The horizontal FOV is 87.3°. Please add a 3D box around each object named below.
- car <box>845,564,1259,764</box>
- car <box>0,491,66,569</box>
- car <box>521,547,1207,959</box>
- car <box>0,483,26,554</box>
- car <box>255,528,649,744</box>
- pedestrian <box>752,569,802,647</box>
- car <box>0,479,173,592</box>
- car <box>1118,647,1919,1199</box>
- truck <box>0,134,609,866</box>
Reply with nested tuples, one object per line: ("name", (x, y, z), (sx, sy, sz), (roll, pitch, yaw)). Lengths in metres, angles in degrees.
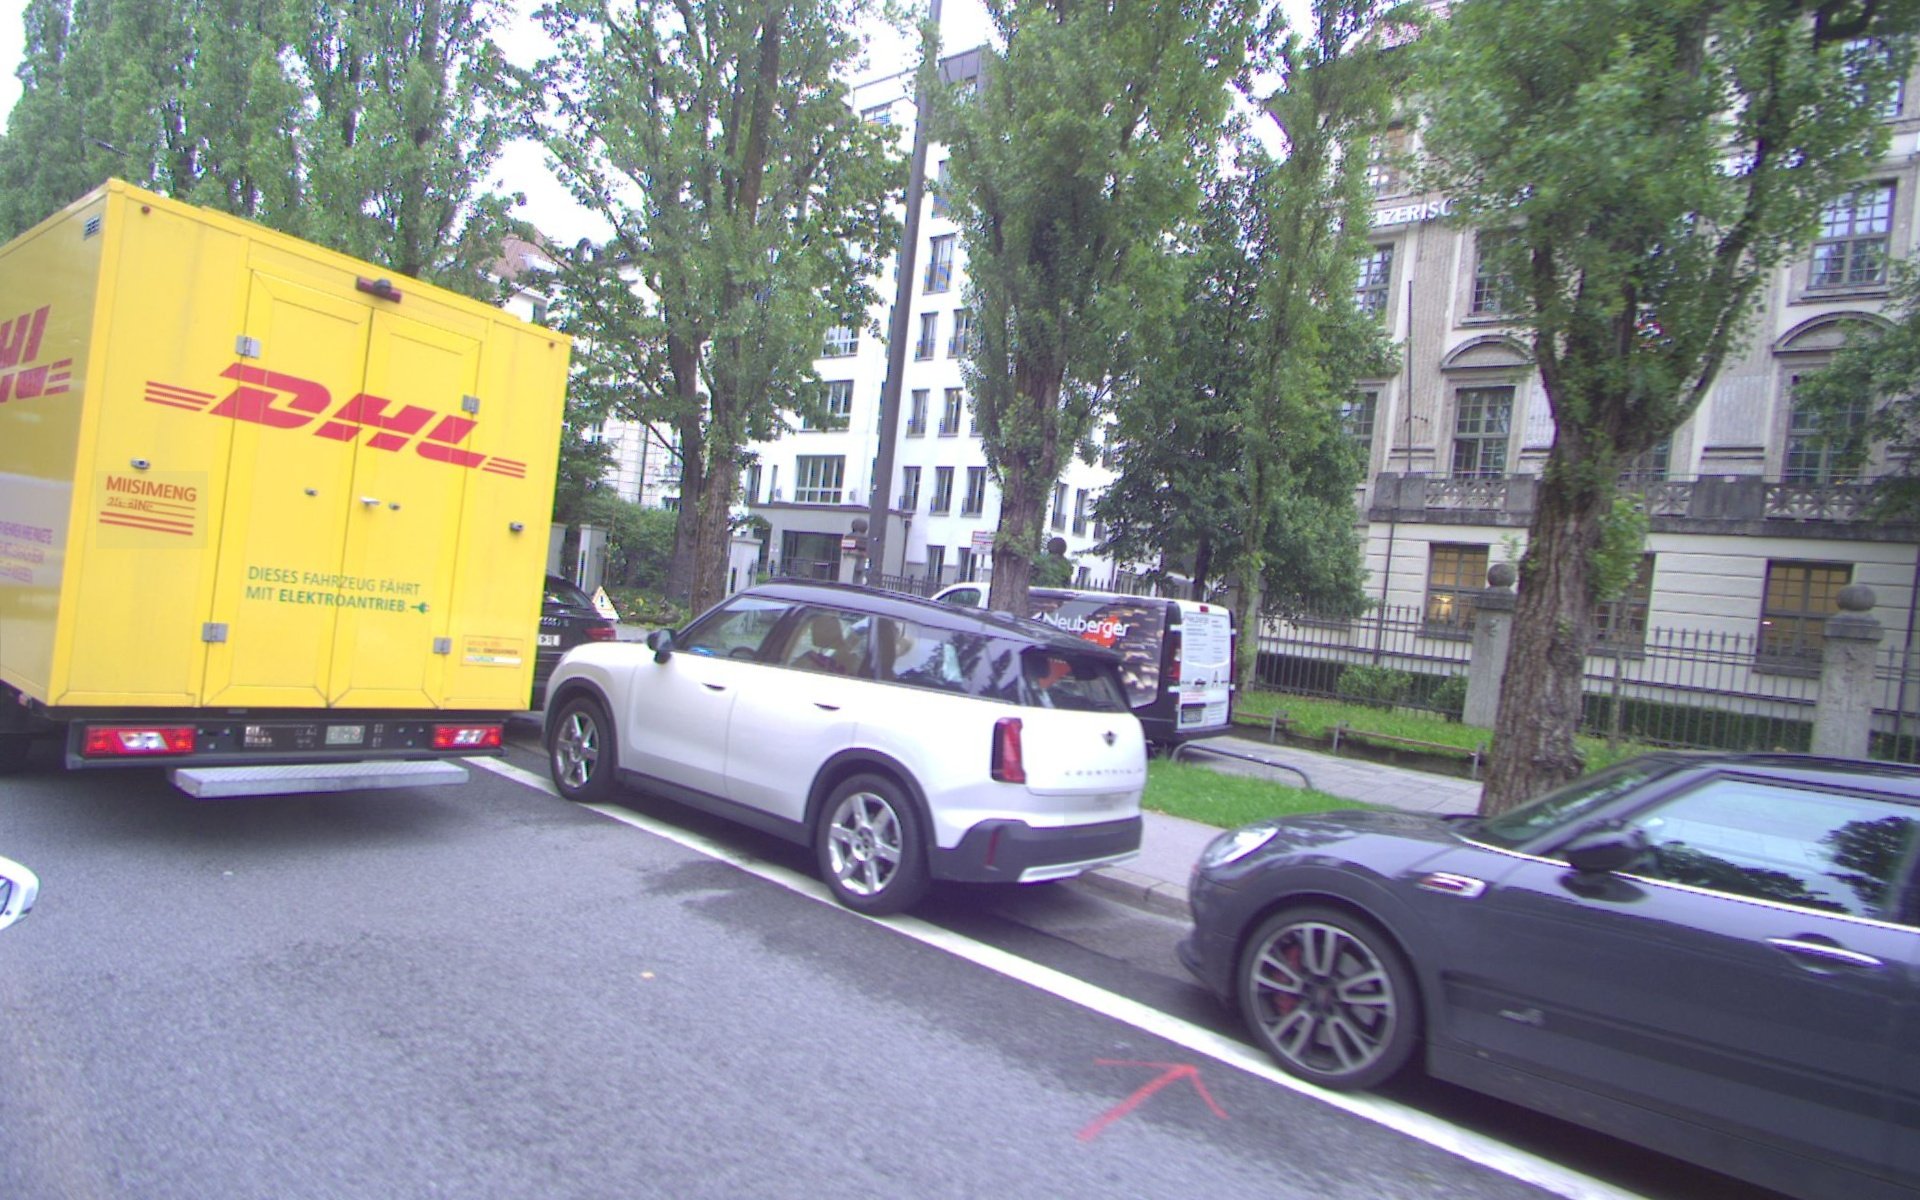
("car", (1.093, 0.756, 13.805), (5.243, 1.949, 1.993), (6, -1, 37))
("car", (-23.125, -1.804, 24.151), (4.026, 1.614, 1.678), (7, -2, 38))
("car", (-0.791, 0.712, 6.402), (4.084, 1.599, 1.782), (6, -2, 38))
("car", (-27.533, -2.430, 27.942), (3.942, 1.857, 1.703), (7, -1, 40))
("car", (-5.074, 0.256, 9.788), (4.260, 1.514, 1.724), (6, -1, 39))
("pedestrian", (-4.745, 0.199, 26.025), (0.927, 1.889, 0.769), (6, 1, -23))
("car", (-17.808, -1.332, 20.330), (4.166, 1.793, 1.834), (6, -2, 37))
("car", (2.840, 1.195, 3.581), (4.086, 1.462, 1.634), (6, -3, 38))
("truck", (-5.758, -0.613, 7.127), (7.221, 2.933, 2.327), (6, 0, 37))
